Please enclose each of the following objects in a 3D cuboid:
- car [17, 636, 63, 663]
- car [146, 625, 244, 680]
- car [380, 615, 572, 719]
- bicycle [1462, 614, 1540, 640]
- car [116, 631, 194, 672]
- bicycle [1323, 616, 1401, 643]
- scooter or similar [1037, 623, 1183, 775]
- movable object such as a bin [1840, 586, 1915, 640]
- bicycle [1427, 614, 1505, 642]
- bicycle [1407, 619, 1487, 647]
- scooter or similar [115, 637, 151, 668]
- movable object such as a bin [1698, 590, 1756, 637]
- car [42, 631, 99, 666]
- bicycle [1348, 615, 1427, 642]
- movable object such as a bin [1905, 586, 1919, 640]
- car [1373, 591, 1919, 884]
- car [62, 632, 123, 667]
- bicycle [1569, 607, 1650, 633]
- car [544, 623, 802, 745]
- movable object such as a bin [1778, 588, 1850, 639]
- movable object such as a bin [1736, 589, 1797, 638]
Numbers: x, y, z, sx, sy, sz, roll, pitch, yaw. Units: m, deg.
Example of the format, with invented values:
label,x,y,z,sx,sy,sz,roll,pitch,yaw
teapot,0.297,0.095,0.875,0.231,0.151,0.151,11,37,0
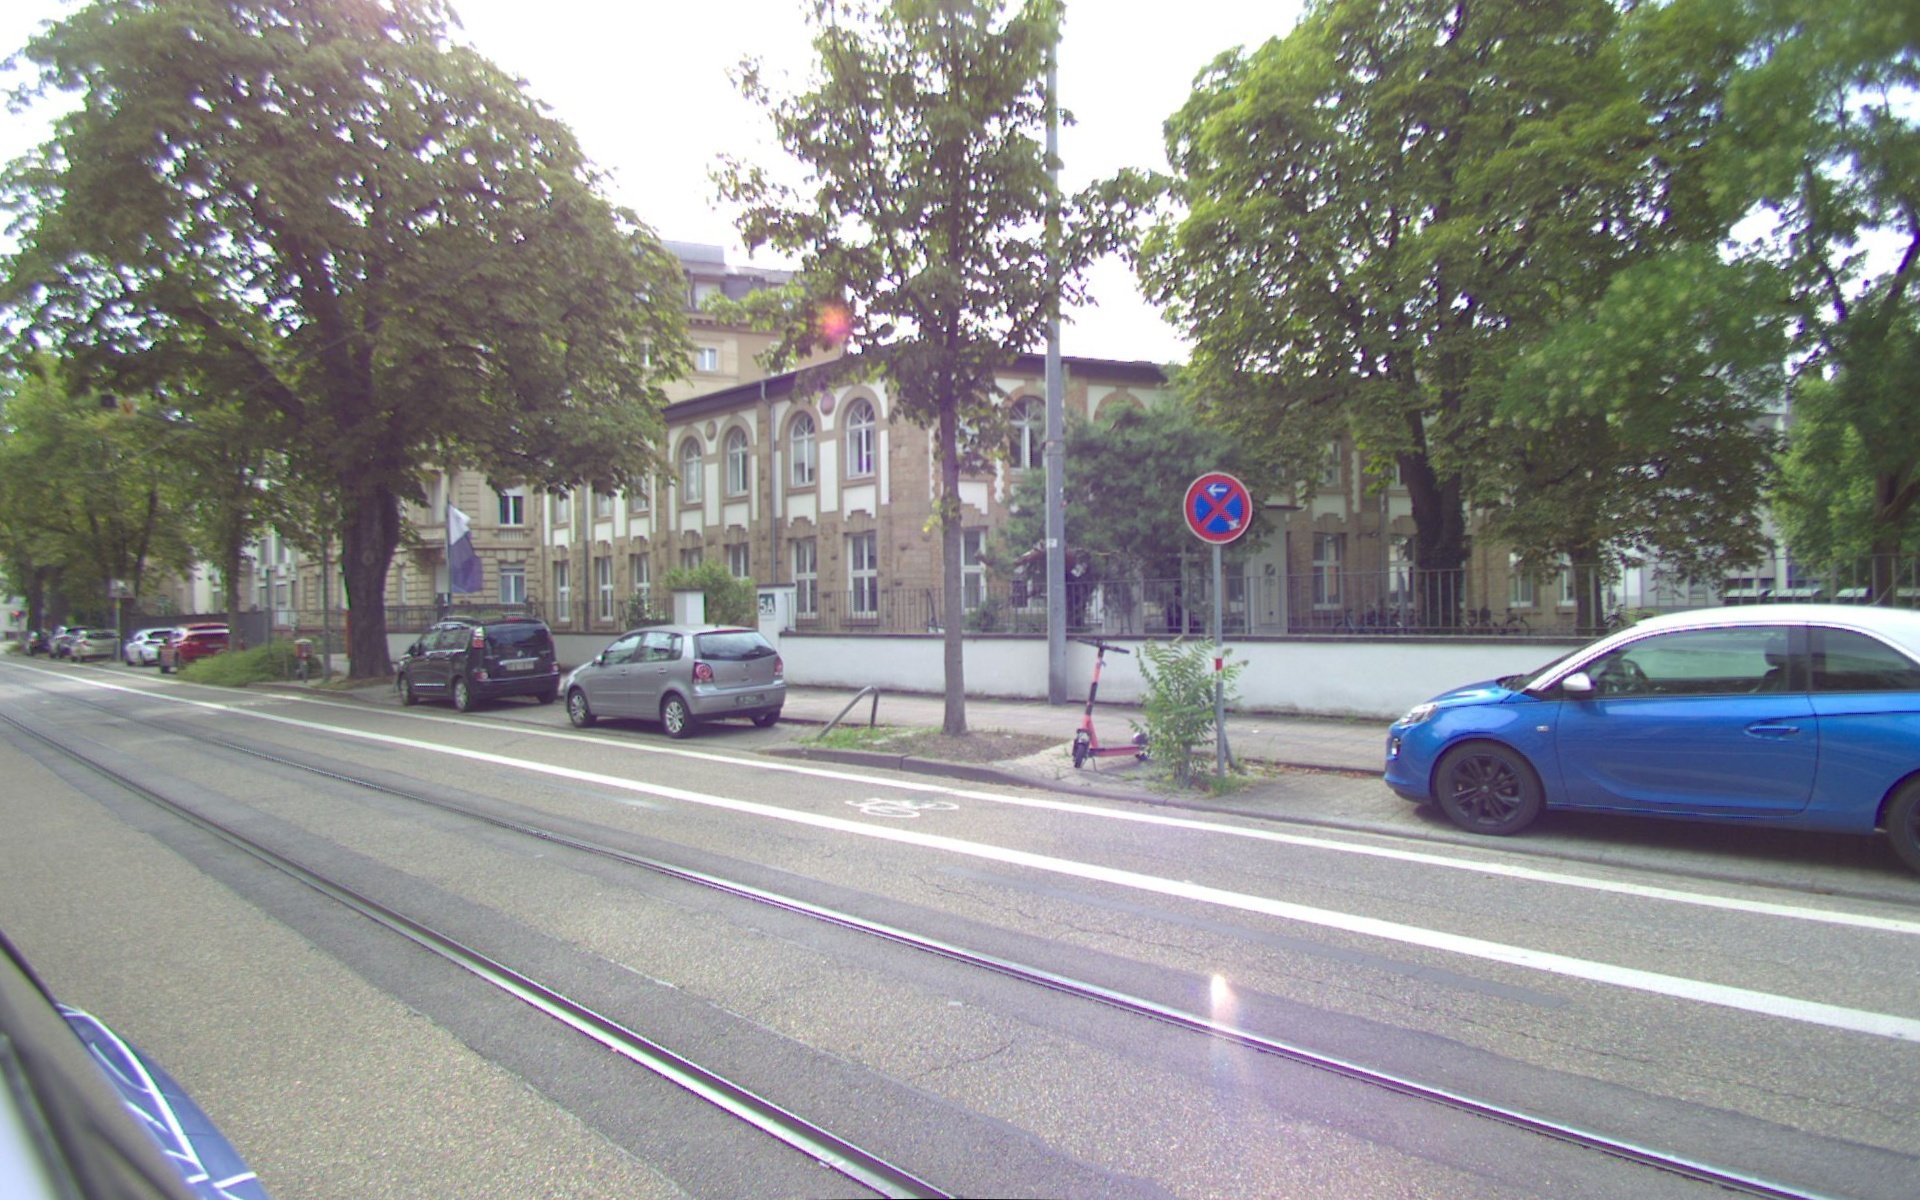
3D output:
label,x,y,z,sx,sy,sz,roll,pitch,yaw
car,-54.546,2.914,59.972,4.166,1.435,1.701,-2,1,44
car,-25.887,1.734,34.203,4.540,1.667,1.704,-2,1,41
car,-9.061,1.174,18.802,4.050,1.659,1.737,-2,0,41
bicycle,16.583,0.833,31.058,2.042,0.713,0.706,-2,0,35
car,-32.115,2.027,40.335,4.021,1.434,1.704,-2,1,41
bicycle,11.304,0.829,28.536,0.702,0.713,2.053,-2,0,-28
scooter or similar,1.475,0.904,9.815,0.700,1.354,1.427,-2,-3,43
movable object such as a bin,24.831,0.350,27.412,0.846,1.385,1.208,-2,0,-22
bicycle,15.065,0.816,30.186,0.702,0.779,2.053,-2,0,-28
bicycle,14.258,0.956,29.696,0.702,0.779,2.053,-2,0,-28
scooter or similar,-34.629,2.199,42.382,1.313,1.232,0.559,-2,-1,19
movable object such as a bin,23.448,0.413,30.952,0.954,1.385,1.024,-2,0,-22
car,-45.610,2.479,51.871,4.355,1.686,1.692,-2,-1,42
bicycle,12.174,0.801,28.893,0.702,0.713,2.053,-2,0,-28
movable object such as a bin,25.258,0.329,26.020,0.846,1.385,1.097,-2,0,-22
car,4.832,0.732,6.494,3.675,1.498,1.675,-2,0,41
car,-40.087,2.266,46.741,4.077,1.479,1.584,-2,-1,42
bicycle,20.603,0.639,32.150,0.702,0.779,2.053,-2,0,-28
car,-4.156,1.100,14.372,3.866,1.438,1.675,-2,0,41
movable object such as a bin,24.241,0.376,28.746,0.954,1.385,1.208,-2,0,-22
movable object such as a bin,23.835,0.395,29.929,0.954,1.385,1.024,-2,0,-22
